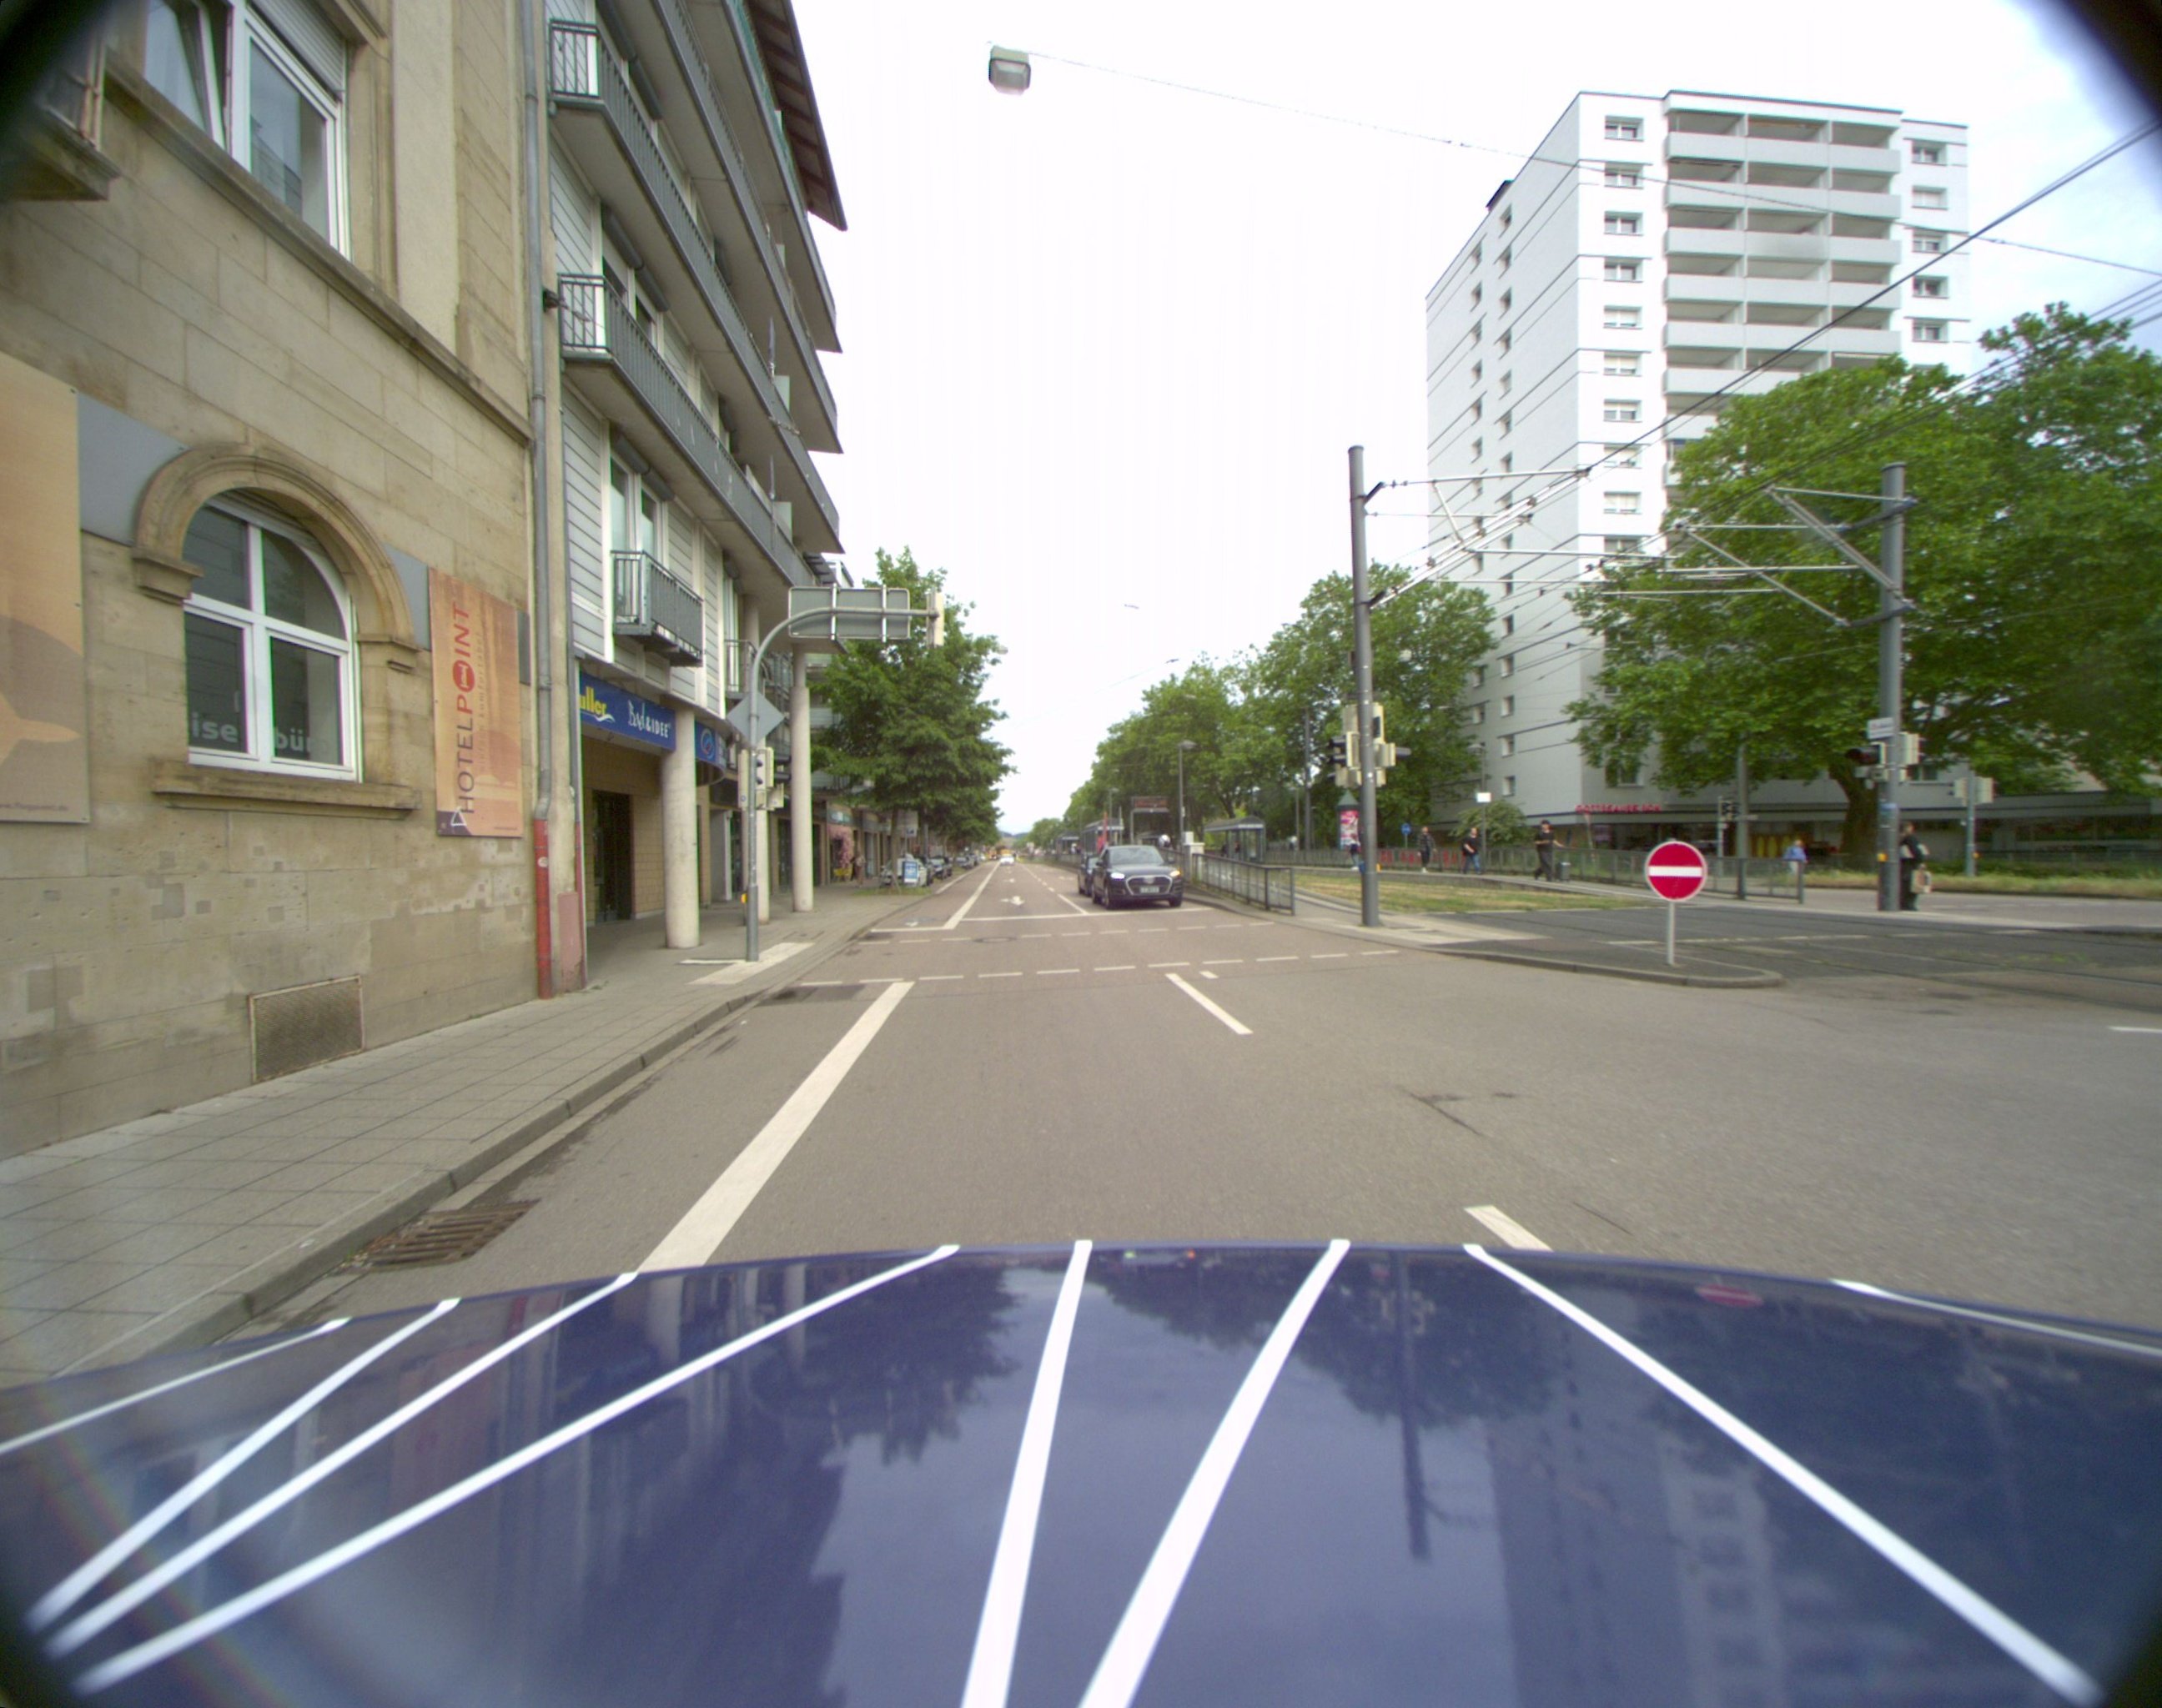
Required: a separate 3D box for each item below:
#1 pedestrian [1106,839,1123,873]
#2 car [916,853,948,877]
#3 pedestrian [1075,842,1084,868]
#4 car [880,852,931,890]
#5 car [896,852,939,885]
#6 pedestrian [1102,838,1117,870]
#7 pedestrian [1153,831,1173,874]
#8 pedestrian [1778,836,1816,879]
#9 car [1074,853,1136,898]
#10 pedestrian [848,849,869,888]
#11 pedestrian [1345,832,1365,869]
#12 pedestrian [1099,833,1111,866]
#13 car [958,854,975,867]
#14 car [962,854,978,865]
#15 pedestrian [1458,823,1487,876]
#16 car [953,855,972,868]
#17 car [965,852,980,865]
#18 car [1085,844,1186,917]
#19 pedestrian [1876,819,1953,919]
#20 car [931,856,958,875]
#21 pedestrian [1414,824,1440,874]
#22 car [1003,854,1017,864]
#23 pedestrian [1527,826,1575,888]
[{"bbox_3d":[1.782,0.089,40.541,0.661,1.781,0.535,-2,1,35],"label":"pedestrian"},{"bbox_3d":[-9.772,0.691,50.027,1.685,1.536,3.941,0,0,-5],"label":"car"},{"bbox_3d":[-0.096,0.042,60.459,0.586,2.038,0.821,-3,1,-2],"label":"pedestrian"},{"bbox_3d":[-8.134,0.732,35.485,1.731,1.652,4.101,1,0,-5],"label":"car"},{"bbox_3d":[-8.588,0.719,40.135,1.731,1.652,3.941,0,0,-5],"label":"car"},{"bbox_3d":[1.609,-0.013,43.213,0.683,1.781,0.821,-3,1,-2],"label":"pedestrian"},{"bbox_3d":[3.388,-0.060,31.488,0.663,1.741,0.534,-3,1,-5],"label":"pedestrian"},{"bbox_3d":[25.744,0.118,27.330,0.554,1.500,0.853,-3,1,1],"label":"pedestrian"},{"bbox_3d":[0.768,0.711,26.766,1.638,1.367,4.011,-3,1,-5],"label":"car"},{"bbox_3d":[-10.500,0.692,35.921,0.745,1.795,0.839,-3,1,-6],"label":"pedestrian"},{"bbox_3d":[12.701,-0.169,35.235,0.622,1.659,0.564,-3,1,-5],"label":"pedestrian"},{"bbox_3d":[1.512,-0.270,48.125,0.586,2.038,0.821,-3,1,-2],"label":"pedestrian"},{"bbox_3d":[-12.759,0.735,84.881,1.731,1.375,3.813,0,0,-5],"label":"car"},{"bbox_3d":[-13.921,0.705,95.642,1.731,1.375,3.813,0,0,-5],"label":"car"},{"bbox_3d":[13.150,-0.143,25.546,0.622,1.741,0.548,-3,1,-5],"label":"pedestrian"},{"bbox_3d":[-12.232,0.762,78.650,1.731,1.375,3.813,0,0,-5],"label":"car"},{"bbox_3d":[-14.434,0.575,100.892,1.731,1.675,3.813,0,0,-5],"label":"car"},{"bbox_3d":[1.308,0.613,20.188,1.917,1.638,4.365,-3,1,-5],"label":"car"},{"bbox_3d":[14.981,0.265,13.667,0.656,1.740,0.627,-3,1,-3],"label":"pedestrian"},{"bbox_3d":[-10.328,0.863,57.645,1.731,1.375,3.813,0,0,-5],"label":"car"},{"bbox_3d":[12.541,-0.181,27.582,0.622,1.779,0.534,-3,1,-5],"label":"pedestrian"},{"bbox_3d":[-9.460,0.686,101.153,1.866,1.339,3.813,0,0,-5],"label":"car"},{"bbox_3d":[13.295,0.084,21.512,0.743,1.686,0.878,-3,1,-5],"label":"pedestrian"}]
